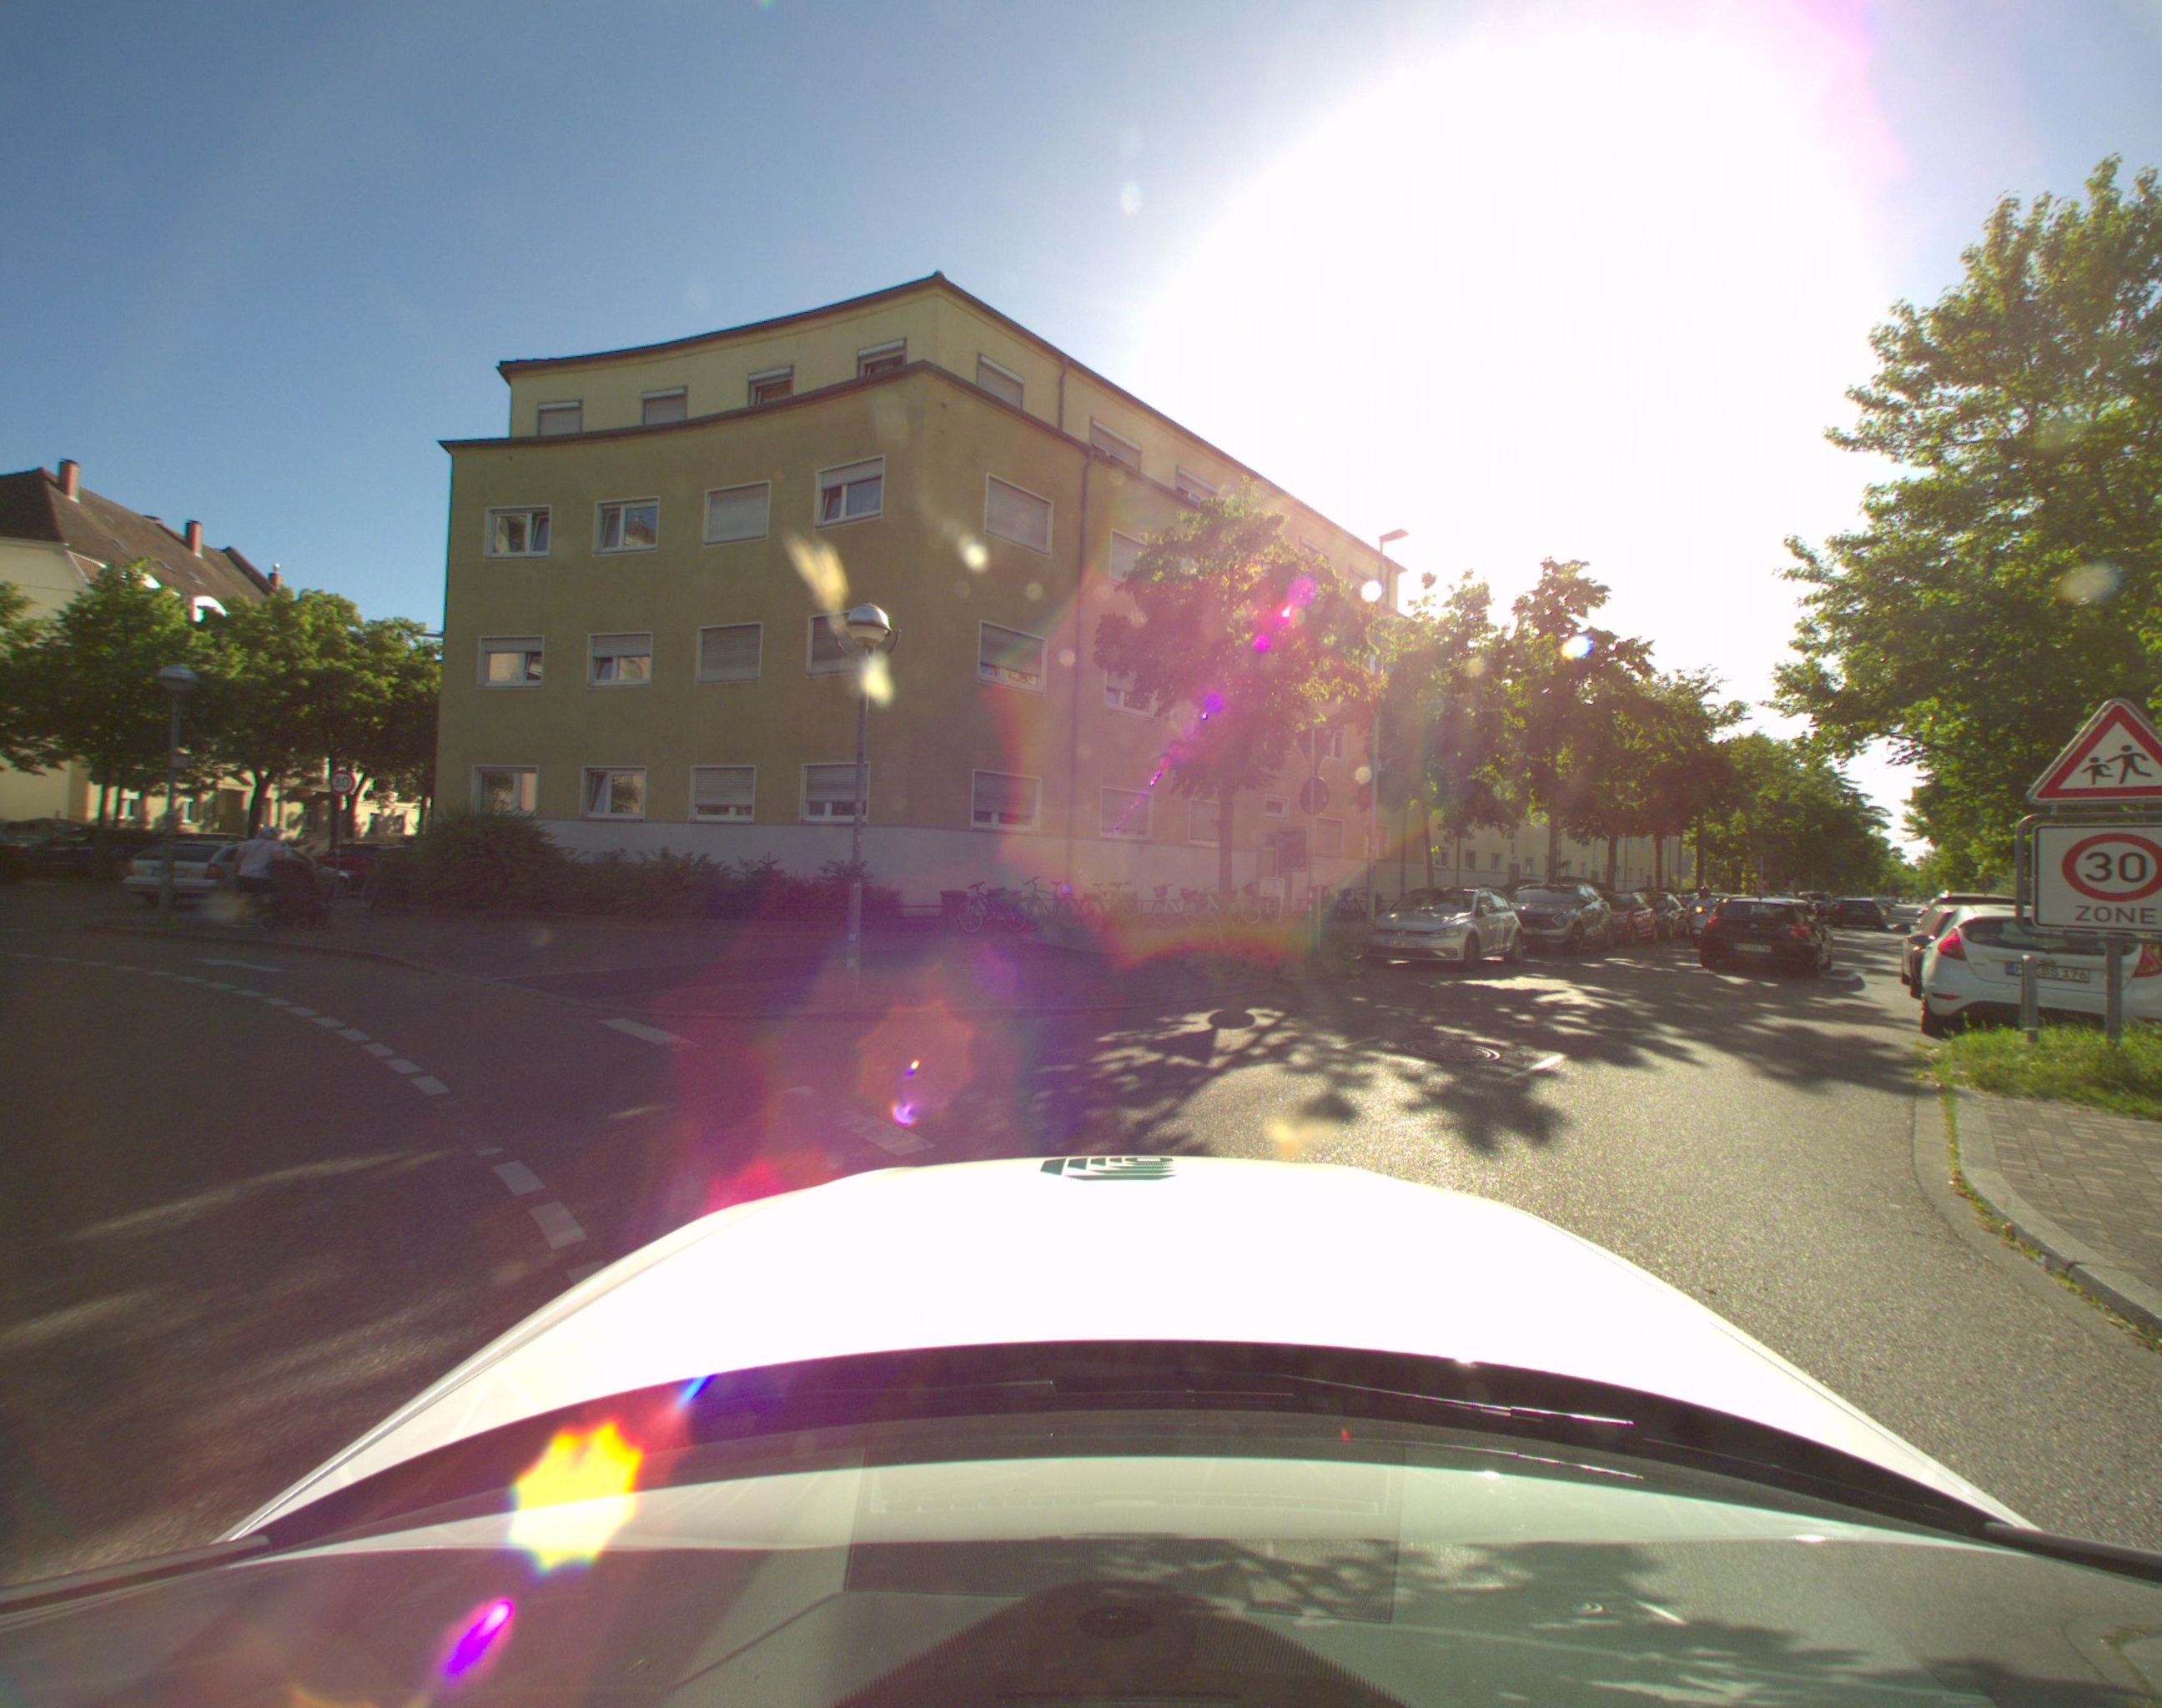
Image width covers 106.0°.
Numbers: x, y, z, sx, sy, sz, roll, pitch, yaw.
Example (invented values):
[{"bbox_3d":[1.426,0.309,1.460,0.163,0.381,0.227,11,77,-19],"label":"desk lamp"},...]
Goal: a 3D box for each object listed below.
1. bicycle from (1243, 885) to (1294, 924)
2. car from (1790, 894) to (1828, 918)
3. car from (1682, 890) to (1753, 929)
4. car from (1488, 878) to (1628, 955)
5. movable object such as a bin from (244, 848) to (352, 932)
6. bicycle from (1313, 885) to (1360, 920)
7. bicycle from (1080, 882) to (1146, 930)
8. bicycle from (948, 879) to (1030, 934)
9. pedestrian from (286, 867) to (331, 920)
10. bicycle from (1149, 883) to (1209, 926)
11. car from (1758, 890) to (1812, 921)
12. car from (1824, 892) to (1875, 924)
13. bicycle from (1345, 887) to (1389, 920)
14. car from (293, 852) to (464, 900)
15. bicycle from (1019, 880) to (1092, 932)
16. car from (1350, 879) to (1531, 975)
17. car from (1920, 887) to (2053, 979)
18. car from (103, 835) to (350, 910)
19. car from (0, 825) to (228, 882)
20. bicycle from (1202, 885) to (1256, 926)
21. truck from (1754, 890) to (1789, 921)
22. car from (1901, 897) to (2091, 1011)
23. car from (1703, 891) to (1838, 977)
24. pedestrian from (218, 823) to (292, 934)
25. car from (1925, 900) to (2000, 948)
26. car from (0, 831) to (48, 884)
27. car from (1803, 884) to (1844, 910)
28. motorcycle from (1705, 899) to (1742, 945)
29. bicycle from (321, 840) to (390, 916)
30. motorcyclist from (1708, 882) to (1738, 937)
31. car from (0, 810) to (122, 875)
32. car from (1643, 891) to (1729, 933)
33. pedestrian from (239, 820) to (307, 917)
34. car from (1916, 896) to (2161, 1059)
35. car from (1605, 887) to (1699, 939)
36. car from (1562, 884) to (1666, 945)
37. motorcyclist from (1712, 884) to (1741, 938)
[{"bbox_3d":[5.082,1.356,22.017,1.552,1.001,0.510,3,-2,-40],"label":"bicycle"},{"bbox_3d":[49.283,3.495,55.111,4.804,1.549,1.493,3,-4,-44],"label":"car"},{"bbox_3d":[26.465,2.262,33.809,4.291,1.516,1.606,3,-4,-42],"label":"car"},{"bbox_3d":[11.361,1.400,19.222,4.762,1.565,1.676,3,-2,-45],"label":"car"},{"bbox_3d":[-11.727,0.528,12.214,0.836,1.196,0.771,2,-1,11],"label":"movable object such as a bin"},{"bbox_3d":[7.853,1.487,24.960,1.757,1.027,0.535,3,-2,-42],"label":"bicycle"},{"bbox_3d":[0.715,1.131,17.913,1.553,1.001,0.449,3,-2,-43],"label":"bicycle"},{"bbox_3d":[-1.746,0.998,15.652,1.553,1.001,0.472,3,-2,-43],"label":"bicycle"},{"bbox_3d":[-13.272,0.672,13.999,0.457,0.876,0.427,3,-2,-35],"label":"pedestrian"},{"bbox_3d":[2.376,1.210,19.691,1.690,1.001,0.430,3,-2,-43],"label":"bicycle"},{"bbox_3d":[40.557,2.948,46.860,5.003,1.681,1.832,3,-4,-44],"label":"car"},{"bbox_3d":[37.140,2.572,39.343,4.023,1.426,1.634,3,-2,-44],"label":"car"},{"bbox_3d":[9.259,1.594,26.298,1.757,1.027,0.531,3,-2,-42],"label":"bicycle"},{"bbox_3d":[-19.945,0.604,23.383,1.995,1.212,3.982,2,-1,-13],"label":"car"},{"bbox_3d":[-0.511,1.054,16.747,1.553,1.001,0.470,3,-2,-43],"label":"bicycle"},{"bbox_3d":[6.644,1.236,14.817,1.743,1.442,4.017,1,-2,44],"label":"car"},{"bbox_3d":[19.511,1.604,17.682,4.321,1.698,1.765,3,-2,-44],"label":"car"},{"bbox_3d":[-18.848,0.399,18.277,1.893,1.444,3.981,2,-1,-14],"label":"car"},{"bbox_3d":[-27.830,0.008,23.470,4.242,1.425,1.704,2,-1,-9],"label":"car"},{"bbox_3d":[3.822,1.304,20.912,1.553,1.001,0.507,3,-2,-43],"label":"bicycle"},{"bbox_3d":[37.093,2.775,43.752,2.444,1.577,1.075,3,-2,-41],"label":"truck"},{"bbox_3d":[14.225,1.438,12.885,1.596,1.410,4.377,1,-2,43],"label":"car"},{"bbox_3d":[13.345,1.457,15.707,3.430,1.397,1.634,3,-2,-44],"label":"car"},{"bbox_3d":[-12.505,0.369,12.354,0.668,1.615,0.688,3,-2,-41],"label":"pedestrian"},{"bbox_3d":[29.532,2.293,27.340,4.391,1.425,1.615,3,-2,-43],"label":"car"},{"bbox_3d":[-28.004,0.035,20.521,4.204,1.285,1.719,1,-1,29],"label":"car"},{"bbox_3d":[57.012,3.314,62.504,5.169,1.905,1.810,3,-3,-43],"label":"car"},{"bbox_3d":[17.166,1.794,21.749,1.641,1.175,0.548,3,-2,-44],"label":"motorcycle"},{"bbox_3d":[-13.929,0.431,15.694,0.759,1.352,2.408,3,-1,-37],"label":"bicycle"},{"bbox_3d":[17.094,1.462,21.680,0.522,1.403,0.548,3,-2,-43],"label":"motorcyclist"},{"bbox_3d":[-32.710,-0.373,24.797,3.997,1.881,1.988,2,-1,-18],"label":"car"},{"bbox_3d":[22.125,2.084,29.713,4.699,1.369,1.730,3,-2,-43],"label":"car"},{"bbox_3d":[-13.970,0.252,14.111,0.751,1.615,0.749,3,-2,-43],"label":"pedestrian"},{"bbox_3d":[10.828,1.231,9.402,4.158,1.402,1.638,3,-2,-44],"label":"car"},{"bbox_3d":[18.188,1.835,25.867,3.954,1.459,1.650,3,-2,-43],"label":"car"},{"bbox_3d":[14.696,1.618,22.395,3.273,1.486,1.650,3,-2,-43],"label":"car"},{"bbox_3d":[17.438,1.527,22.004,0.406,1.426,0.539,3,-2,-43],"label":"motorcyclist"}]
